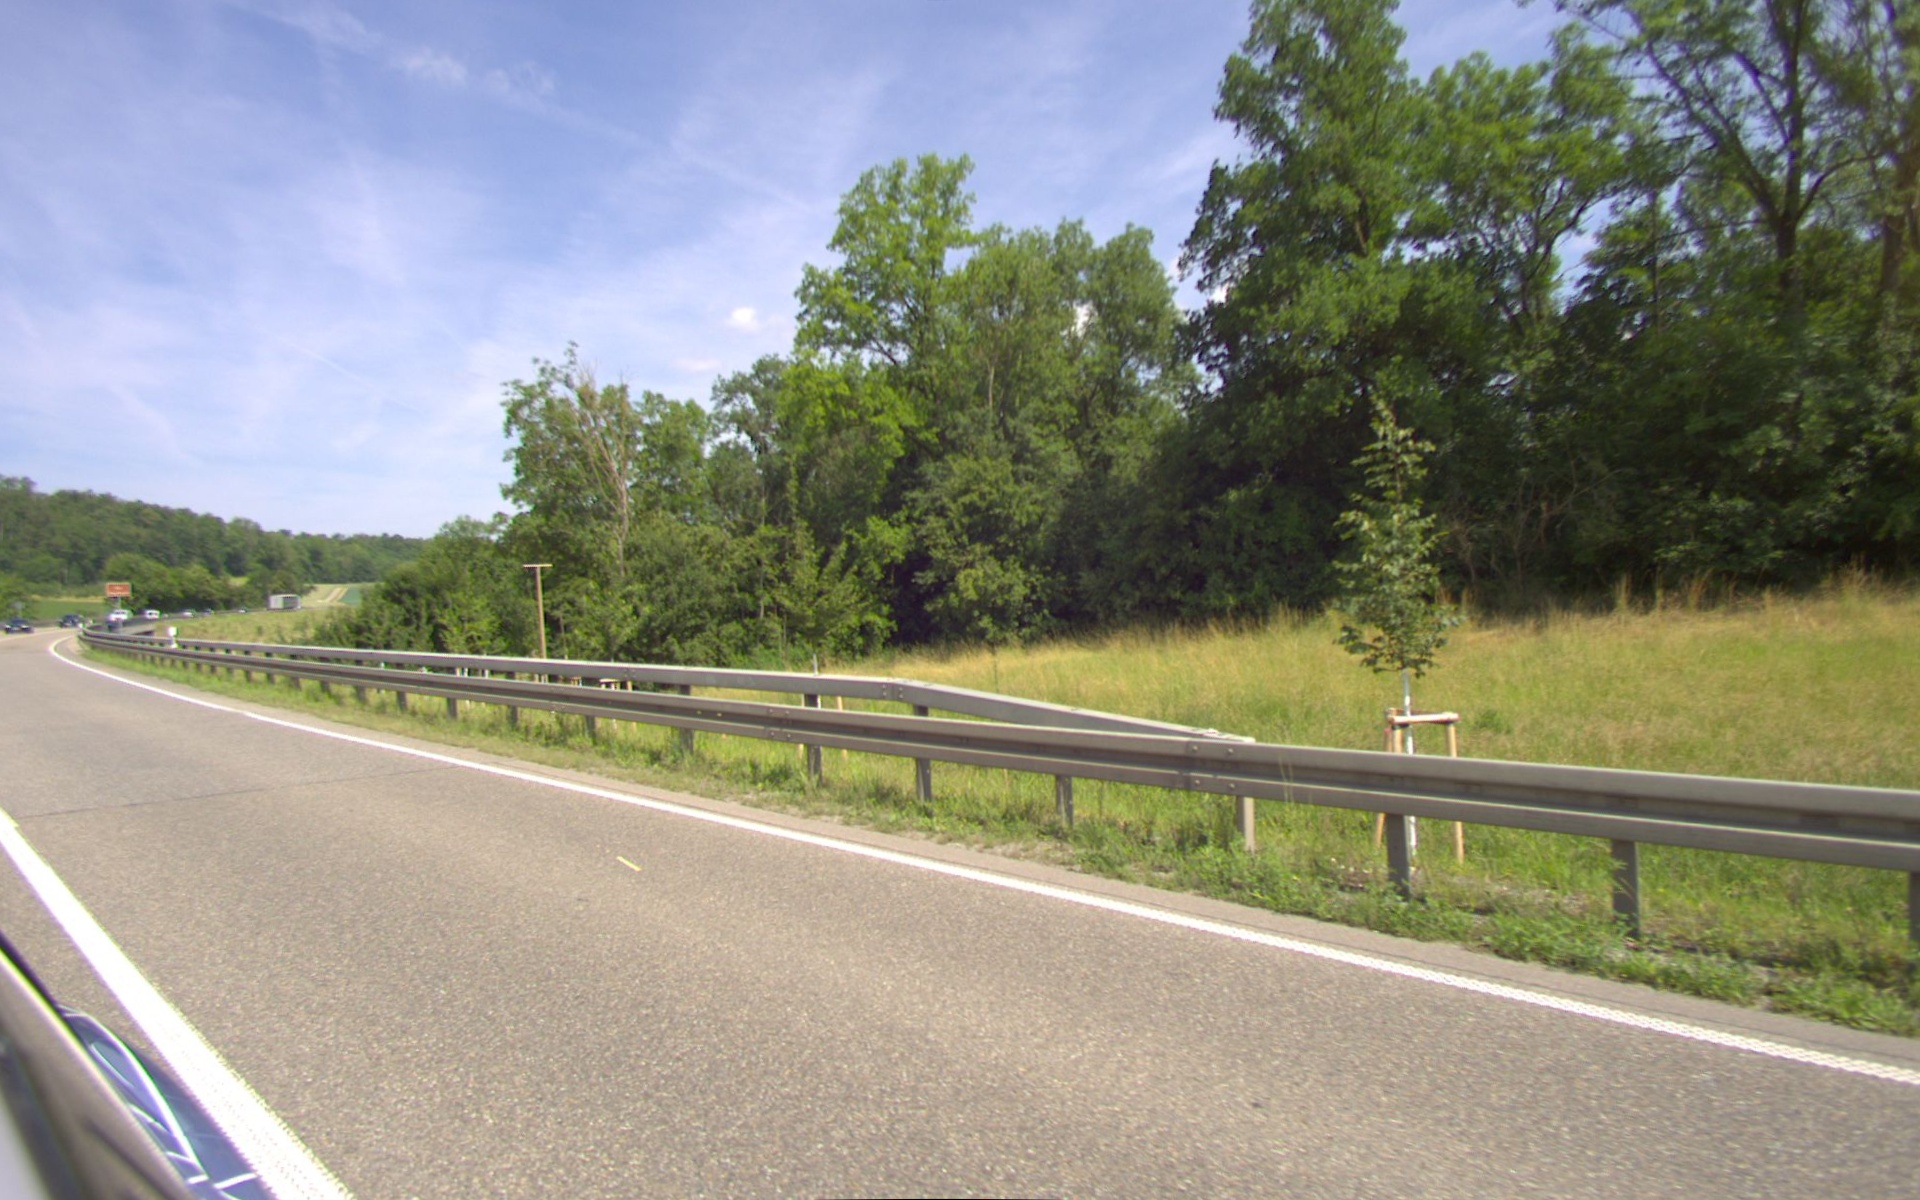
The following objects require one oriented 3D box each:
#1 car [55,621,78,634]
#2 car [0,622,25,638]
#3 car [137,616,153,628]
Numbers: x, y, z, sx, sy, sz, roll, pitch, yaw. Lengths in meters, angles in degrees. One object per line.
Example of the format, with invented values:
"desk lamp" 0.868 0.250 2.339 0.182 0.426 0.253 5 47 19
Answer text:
"car" -109.864 3.376 124.424 1.715 1.465 4.045 0 0 -36
"car" -90.305 2.870 96.412 1.718 1.465 4.038 0 0 -44
"car" -124.391 3.399 154.451 1.716 1.788 4.045 0 0 -37
